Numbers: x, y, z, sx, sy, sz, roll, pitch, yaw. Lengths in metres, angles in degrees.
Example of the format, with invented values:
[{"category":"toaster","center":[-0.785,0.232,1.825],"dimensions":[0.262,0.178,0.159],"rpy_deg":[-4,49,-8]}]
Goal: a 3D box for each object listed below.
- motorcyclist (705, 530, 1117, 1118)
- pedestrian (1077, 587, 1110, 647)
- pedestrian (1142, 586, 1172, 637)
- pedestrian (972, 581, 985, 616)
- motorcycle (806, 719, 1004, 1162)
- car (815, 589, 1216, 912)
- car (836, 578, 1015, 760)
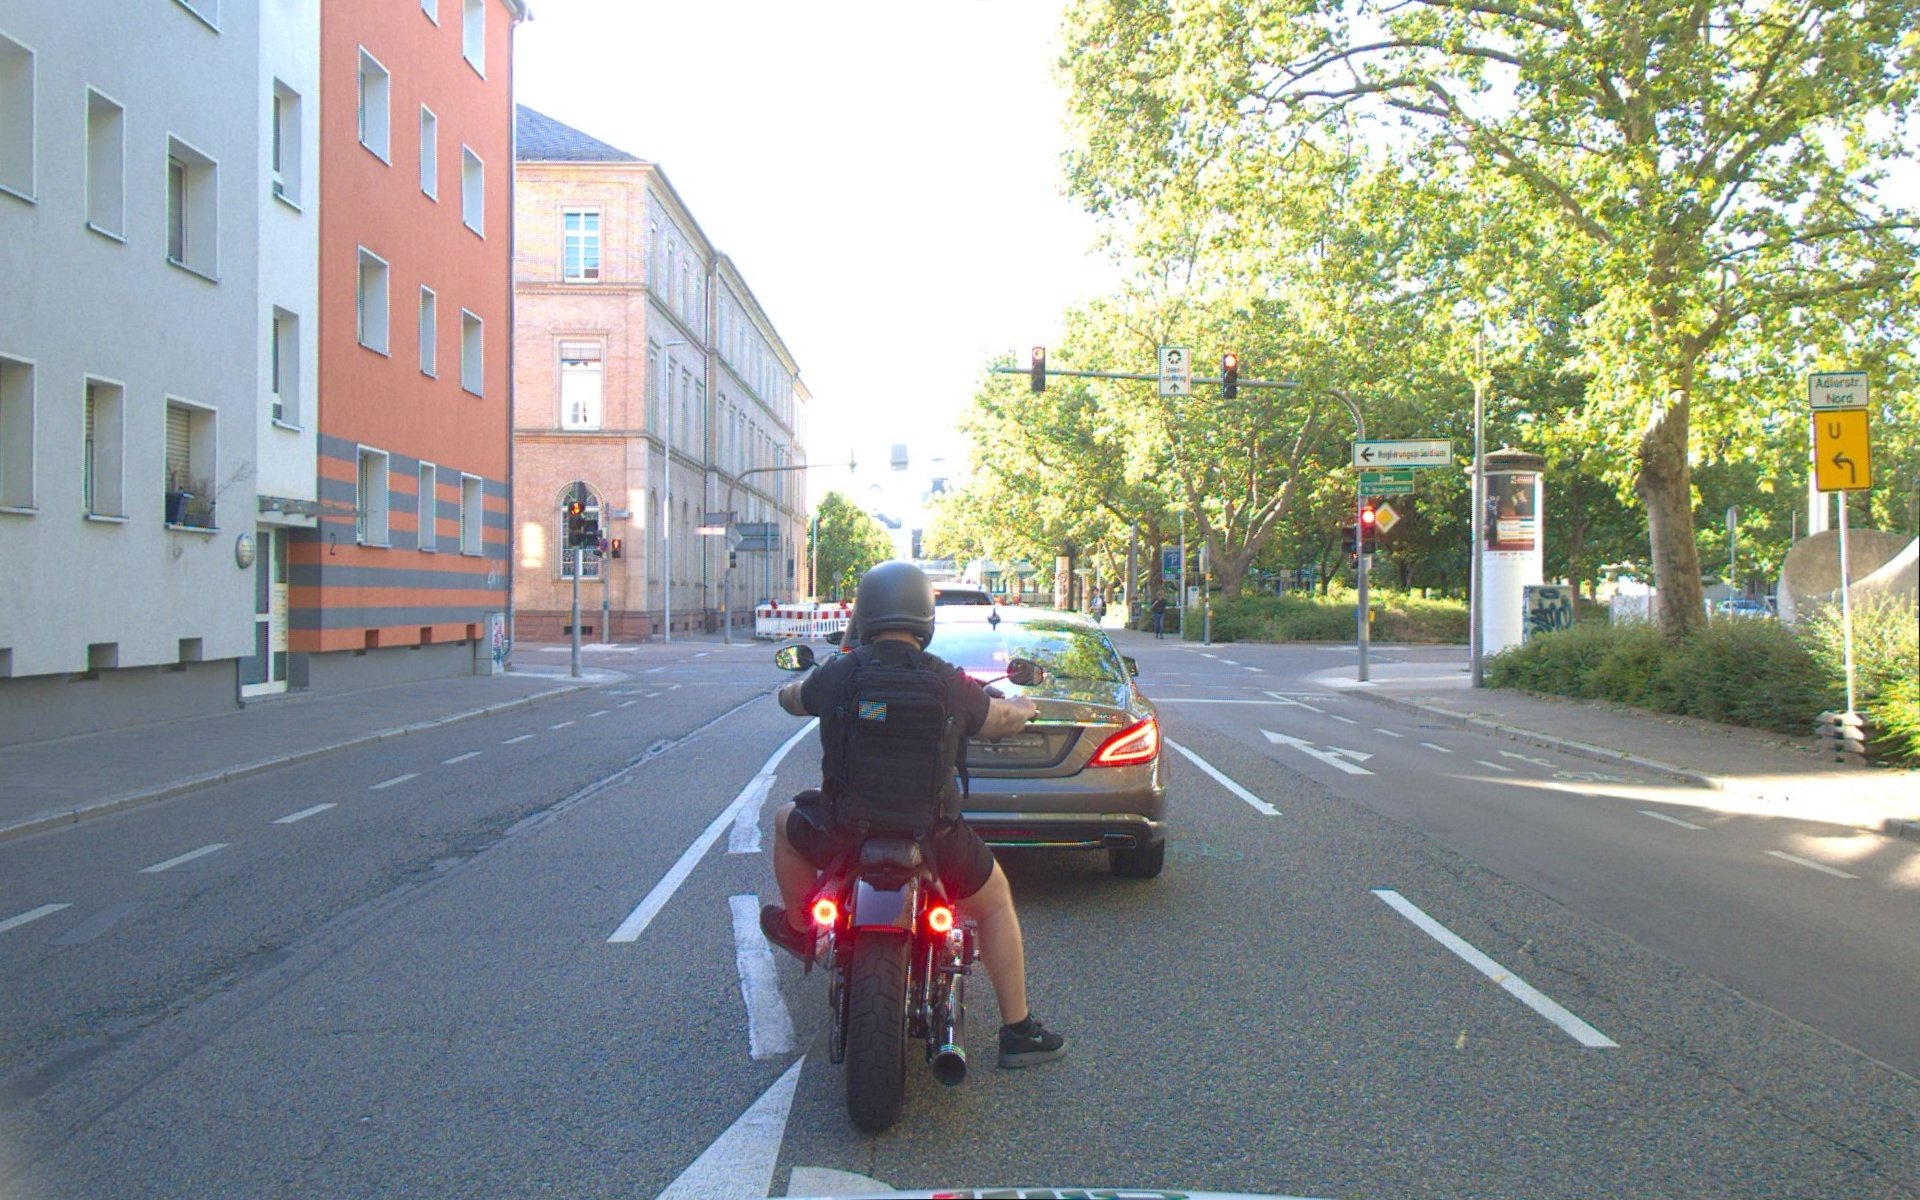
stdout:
[{"category":"motorcyclist","center":[-0.144,0.630,5.267],"dimensions":[1.125,1.626,1.288],"rpy_deg":[1,0,-1]},{"category":"pedestrian","center":[4.267,0.541,52.809],"dimensions":[0.980,1.858,1.077],"rpy_deg":[1,0,5]},{"category":"pedestrian","center":[7.503,0.441,63.017],"dimensions":[0.741,1.943,0.917],"rpy_deg":[1,-1,-29]},{"category":"pedestrian","center":[1.109,-0.092,100.810],"dimensions":[0.748,2.087,0.712],"rpy_deg":[1,-1,-1]},{"category":"motorcycle","center":[-0.158,0.968,5.354],"dimensions":[0.503,1.020,2.013],"rpy_deg":[1,0,-1]},{"category":"car","center":[0.233,0.692,9.610],"dimensions":[1.844,1.475,3.819],"rpy_deg":[1,0,-1]},{"category":"car","center":[-0.333,0.604,16.719],"dimensions":[1.588,1.622,3.999],"rpy_deg":[0,0,-1]}]
